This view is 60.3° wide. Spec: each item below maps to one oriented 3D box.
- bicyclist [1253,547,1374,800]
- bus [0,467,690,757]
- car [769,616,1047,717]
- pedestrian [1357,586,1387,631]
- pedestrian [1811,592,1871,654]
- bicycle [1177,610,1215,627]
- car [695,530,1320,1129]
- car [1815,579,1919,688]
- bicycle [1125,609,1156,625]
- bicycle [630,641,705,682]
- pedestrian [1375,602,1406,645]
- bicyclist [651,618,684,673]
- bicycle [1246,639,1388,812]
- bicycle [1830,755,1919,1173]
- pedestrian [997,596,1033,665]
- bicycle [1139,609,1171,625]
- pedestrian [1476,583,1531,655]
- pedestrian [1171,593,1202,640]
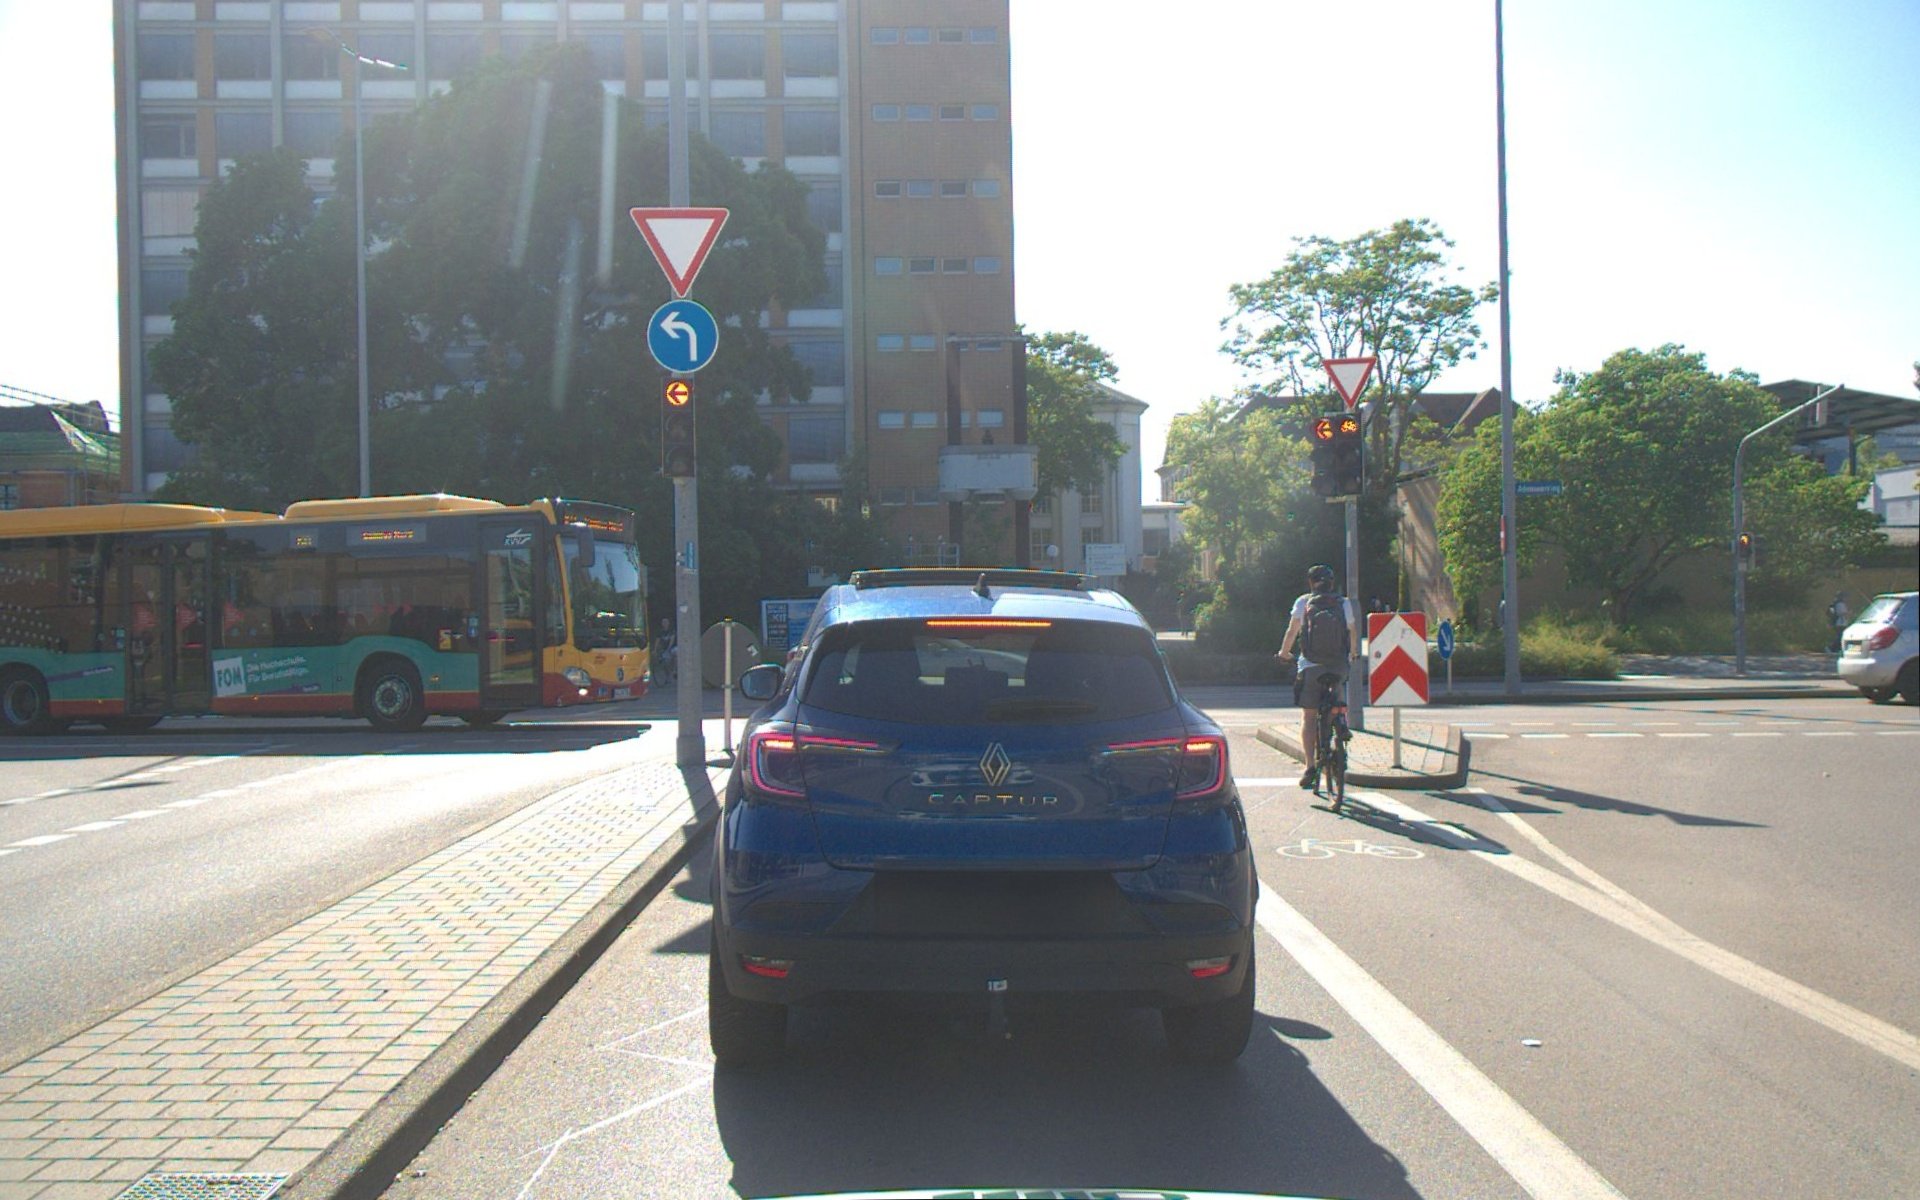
[{"bbox_3d":[2.639,0.536,12.411,0.663,1.816,0.939,1,-1,-2],"label":"bicyclist"},{"bbox_3d":[-10.207,0.254,23.840,12.158,3.633,3.252,-1,0,15],"label":"bus"},{"bbox_3d":[-0.736,0.978,24.860,3.902,1.397,1.761,-1,0,8],"label":"car"},{"bbox_3d":[16.475,0.355,66.121,0.933,1.772,0.984,-1,0,-1],"label":"pedestrian"},{"bbox_3d":[22.220,0.577,41.751,1.062,1.547,0.931,-1,0,9],"label":"pedestrian"},{"bbox_3d":[11.855,0.931,83.202,1.739,0.837,0.763,-1,0,-11],"label":"bicycle"},{"bbox_3d":[0.084,0.645,6.610,1.758,1.684,3.852,1,0,-2],"label":"car"},{"bbox_3d":[13.949,0.481,22.423,3.762,1.428,1.893,0,-3,9],"label":"car"},{"bbox_3d":[10.851,1.014,99.351,1.735,0.908,0.765,-1,0,-1],"label":"bicycle"},{"bbox_3d":[-7.745,1.625,43.796,1.848,1.025,0.691,0,-3,-38],"label":"bicycle"},{"bbox_3d":[17.081,0.927,65.658,0.917,1.641,1.175,-1,0,-1],"label":"pedestrian"},{"bbox_3d":[-7.755,1.199,43.821,0.632,1.437,0.640,0,-3,-38],"label":"bicyclist"},{"bbox_3d":[2.641,0.891,12.411,0.602,1.158,1.825,0,0,-2],"label":"bicycle"},{"bbox_3d":[2.897,0.990,3.905,0.657,1.069,1.843,1,0,-2],"label":"bicycle"},{"bbox_3d":[1.542,0.849,46.322,0.912,1.888,0.808,-1,0,8],"label":"pedestrian"},{"bbox_3d":[11.197,0.983,94.993,1.735,0.914,0.765,-1,0,-1],"label":"bicycle"},{"bbox_3d":[14.534,0.494,44.259,1.269,1.888,0.967,-1,0,11],"label":"pedestrian"},{"bbox_3d":[9.982,0.712,72.921,1.132,2.049,1.164,-1,0,-1],"label":"pedestrian"}]
